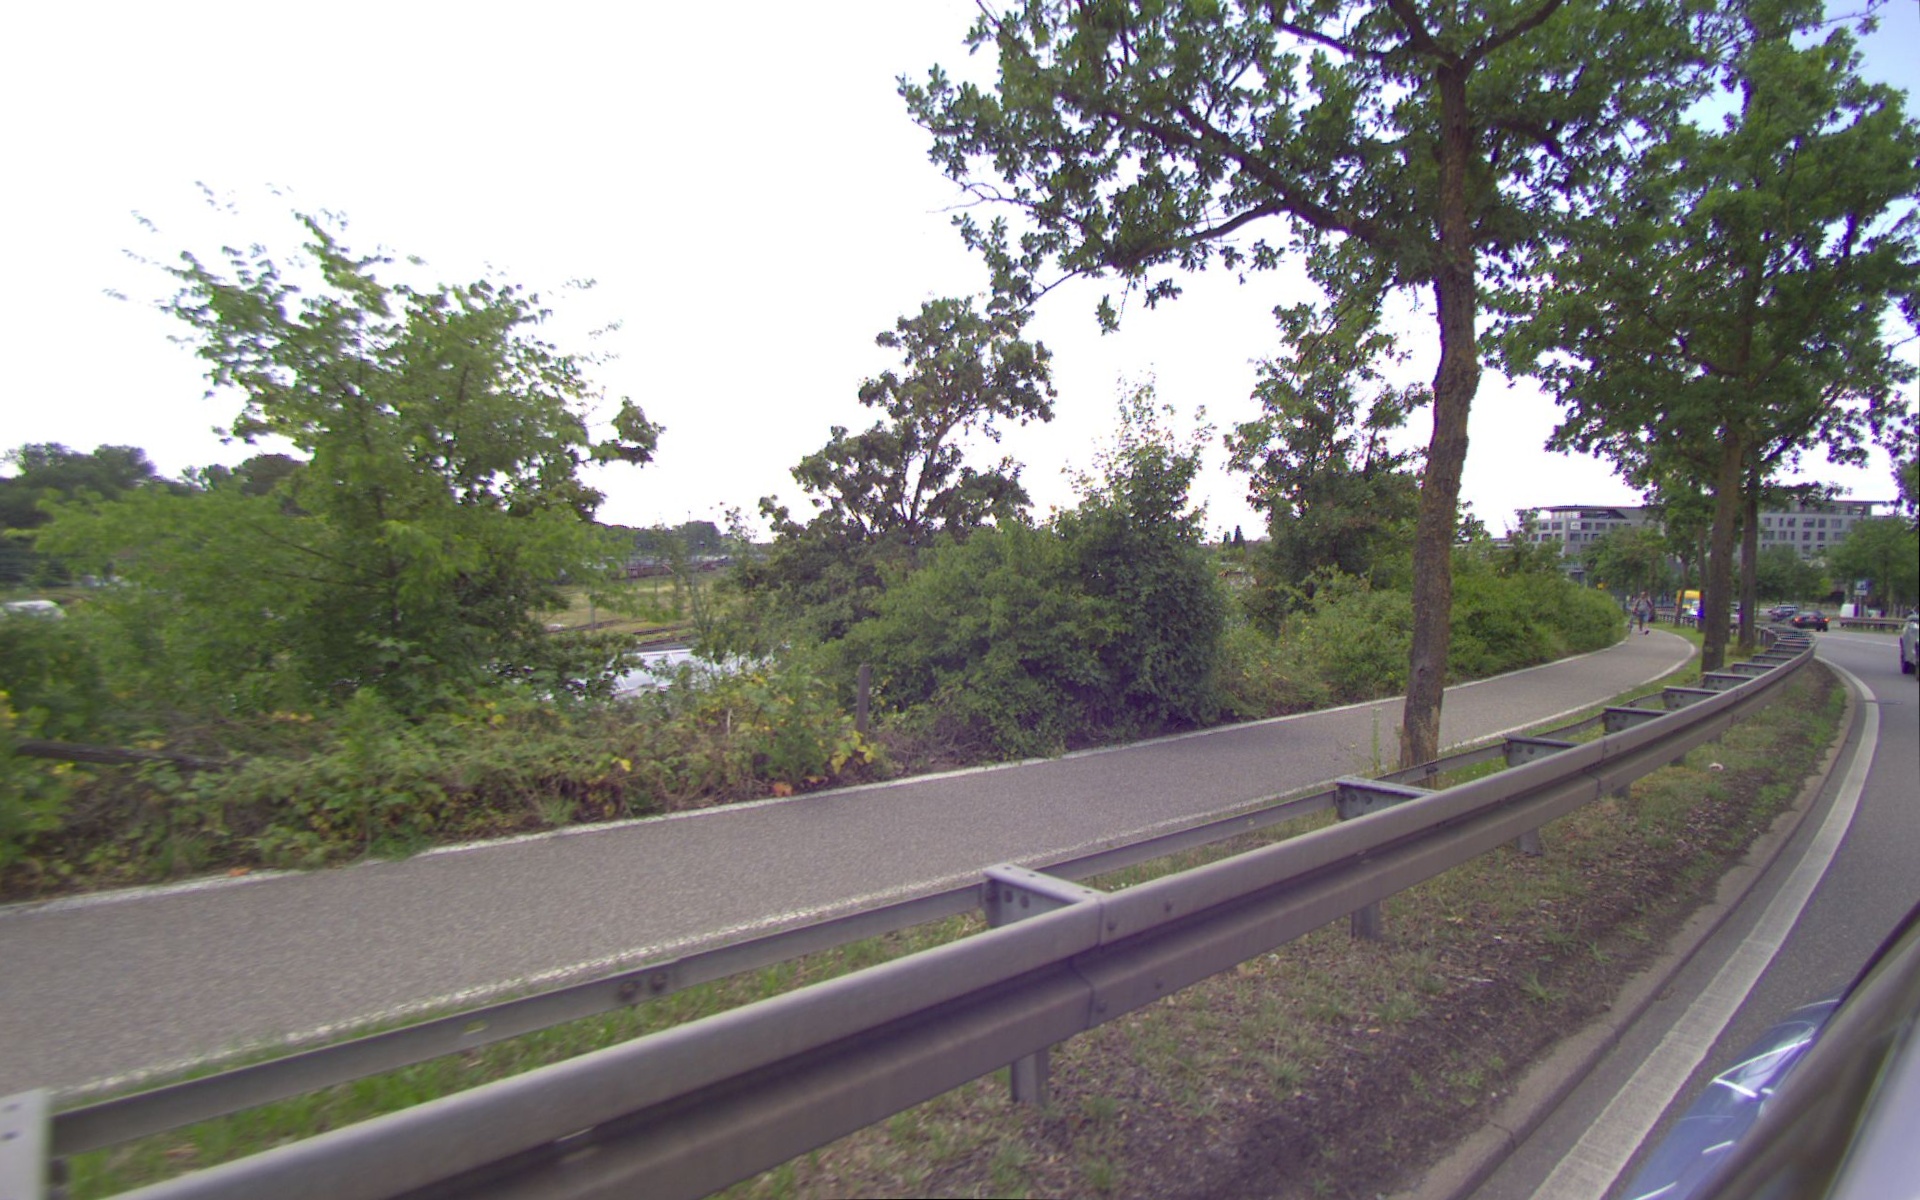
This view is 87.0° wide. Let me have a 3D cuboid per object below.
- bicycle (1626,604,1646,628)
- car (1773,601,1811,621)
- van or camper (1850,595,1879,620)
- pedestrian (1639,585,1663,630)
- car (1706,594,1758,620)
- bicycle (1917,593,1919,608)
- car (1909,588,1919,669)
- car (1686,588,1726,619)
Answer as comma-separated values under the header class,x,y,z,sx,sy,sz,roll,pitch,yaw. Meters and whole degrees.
class,x,y,z,sx,sy,sz,roll,pitch,yaw
bicycle,26.442,0.610,39.606,0.554,0.880,1.804,3,2,32
car,57.307,0.730,69.746,1.587,1.233,3.744,3,1,34
van or camper,104.647,0.906,117.063,5.881,2.613,1.996,2,2,-44
pedestrian,26.812,0.285,39.268,0.654,1.662,1.042,3,1,32
car,45.155,0.394,59.261,1.833,1.222,3.959,4,4,29
bicycle,69.540,0.065,72.856,0.554,1.076,1.734,2,1,32
car,19.005,0.556,18.726,1.820,1.544,3.943,1,1,39
car,55.110,0.212,74.838,1.987,2.037,3.952,6,4,33
